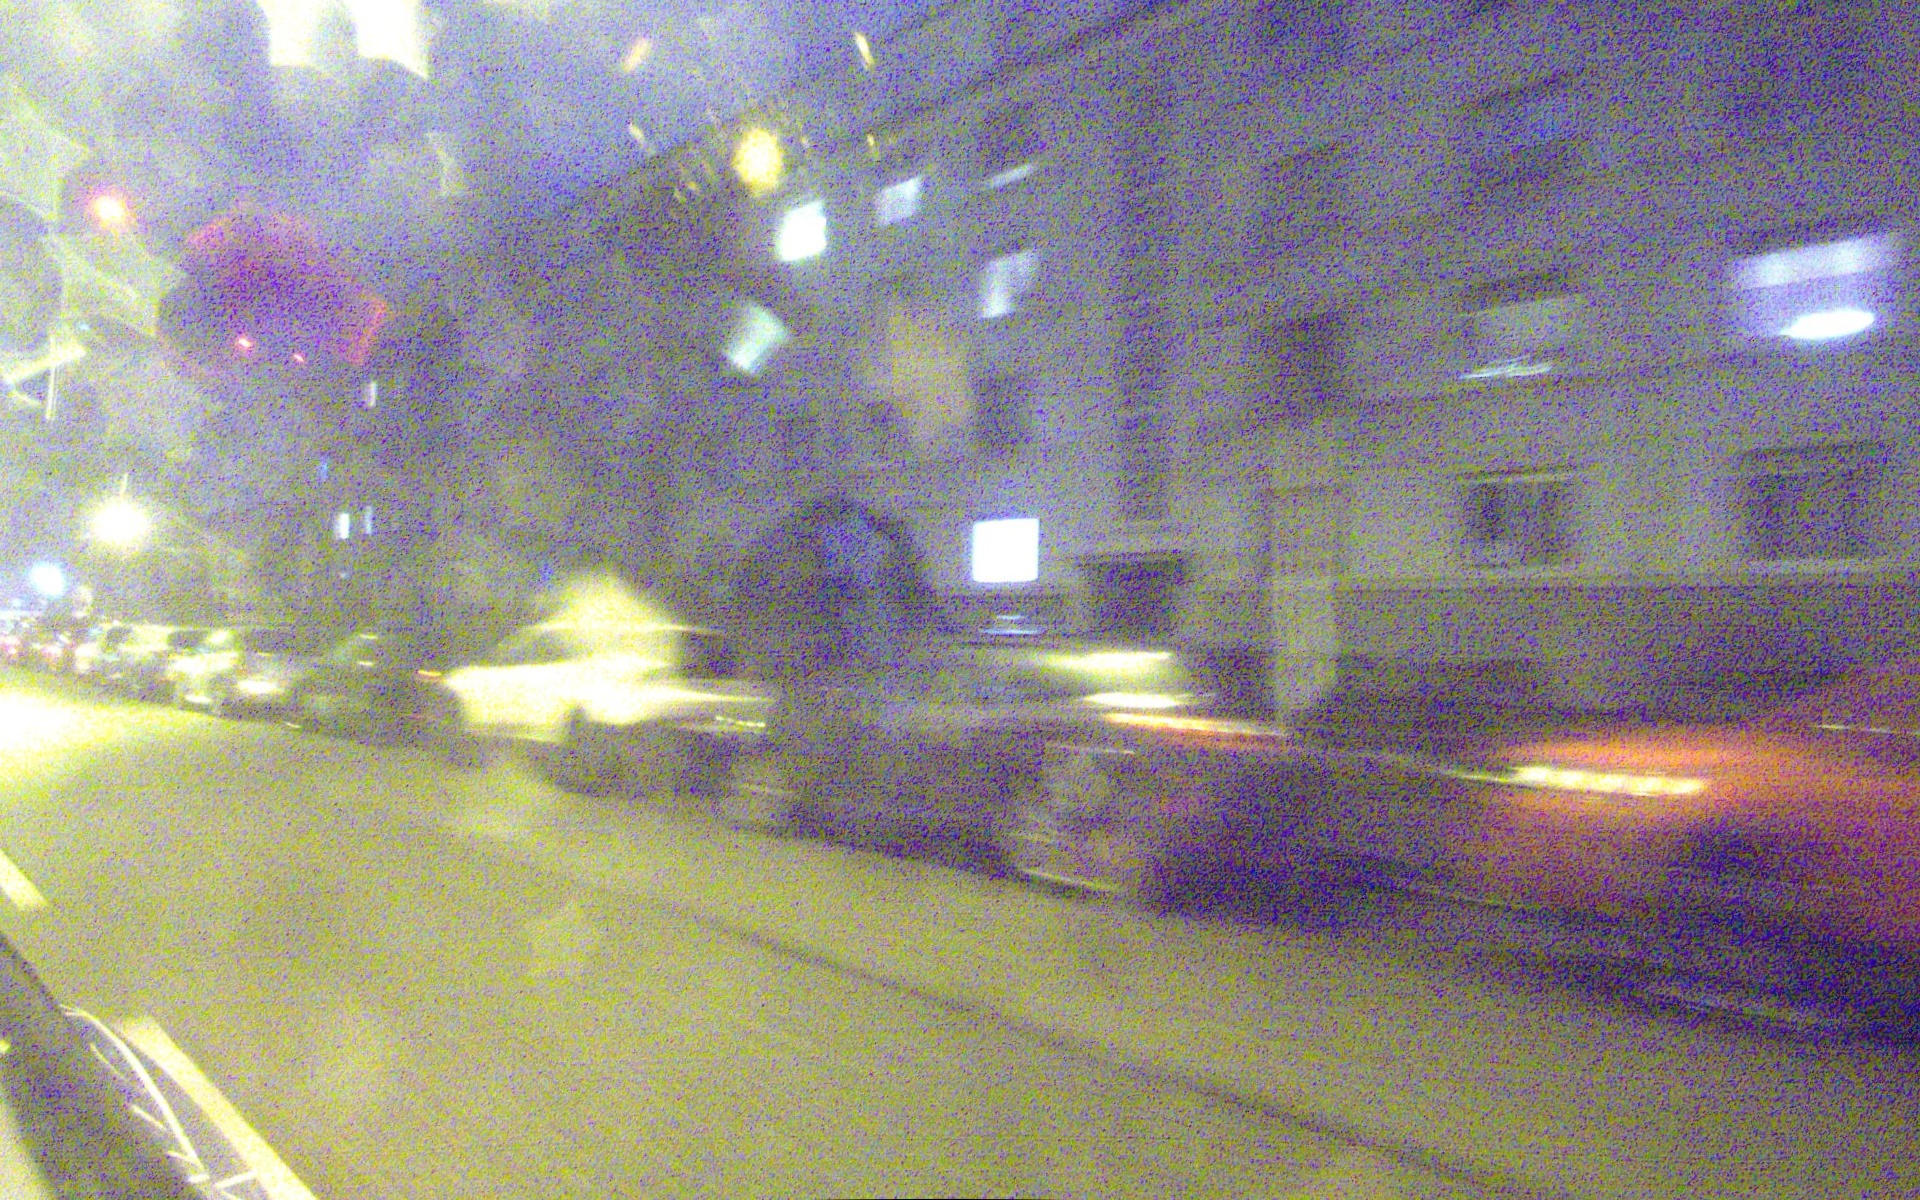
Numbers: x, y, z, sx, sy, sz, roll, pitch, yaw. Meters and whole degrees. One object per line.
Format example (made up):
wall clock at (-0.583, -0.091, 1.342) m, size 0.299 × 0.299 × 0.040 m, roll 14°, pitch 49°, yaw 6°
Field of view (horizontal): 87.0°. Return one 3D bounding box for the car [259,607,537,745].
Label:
car at (-7.547, 0.932, 13.420) m, size 4.386 × 1.551 × 1.649 m, roll -1°, pitch -3°, yaw 39°

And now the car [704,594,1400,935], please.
car at (0.369, 0.845, 6.676) m, size 4.386 × 1.551 × 1.649 m, roll -1°, pitch -5°, yaw 39°

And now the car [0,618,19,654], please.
car at (-41.366, 1.496, 42.828) m, size 4.543 × 1.484 × 1.607 m, roll -1°, pitch -3°, yaw 39°

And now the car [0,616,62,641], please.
car at (-66.200, 1.996, 71.079) m, size 4.473 × 1.719 × 1.855 m, roll 3°, pitch -3°, yaw -35°

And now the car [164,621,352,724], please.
car at (-12.121, 1.166, 17.359) m, size 4.389 × 1.551 × 1.648 m, roll -2°, pitch -4°, yaw 42°

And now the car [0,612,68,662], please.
car at (-32.512, 1.275, 35.168) m, size 3.960 × 1.585 × 1.607 m, roll -1°, pitch -5°, yaw 40°

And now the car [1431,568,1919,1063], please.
car at (4.215, 0.754, 3.602) m, size 4.382 × 1.610 × 1.731 m, roll -1°, pitch -5°, yaw 36°

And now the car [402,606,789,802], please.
car at (-3.791, 0.920, 10.105) m, size 4.388 × 1.551 × 1.648 m, roll -1°, pitch -5°, yaw 41°

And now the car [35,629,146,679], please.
car at (-24.338, 1.468, 28.269) m, size 4.637 × 1.278 × 1.818 m, roll -2°, pitch -4°, yaw 43°

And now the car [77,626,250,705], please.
car at (-16.239, 1.273, 20.562) m, size 4.668 × 1.429 × 1.604 m, roll -1°, pitch -3°, yaw 37°

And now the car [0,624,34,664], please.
car at (-37.087, 1.661, 39.043) m, size 3.962 × 1.484 × 1.606 m, roll -2°, pitch -4°, yaw 42°

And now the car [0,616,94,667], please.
car at (-28.571, 1.275, 31.497) m, size 4.393 × 1.484 × 1.776 m, roll -1°, pitch -3°, yaw 41°

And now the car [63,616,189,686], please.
car at (-20.269, 1.228, 24.538) m, size 4.058 × 1.551 × 1.688 m, roll -2°, pitch -5°, yaw 42°
